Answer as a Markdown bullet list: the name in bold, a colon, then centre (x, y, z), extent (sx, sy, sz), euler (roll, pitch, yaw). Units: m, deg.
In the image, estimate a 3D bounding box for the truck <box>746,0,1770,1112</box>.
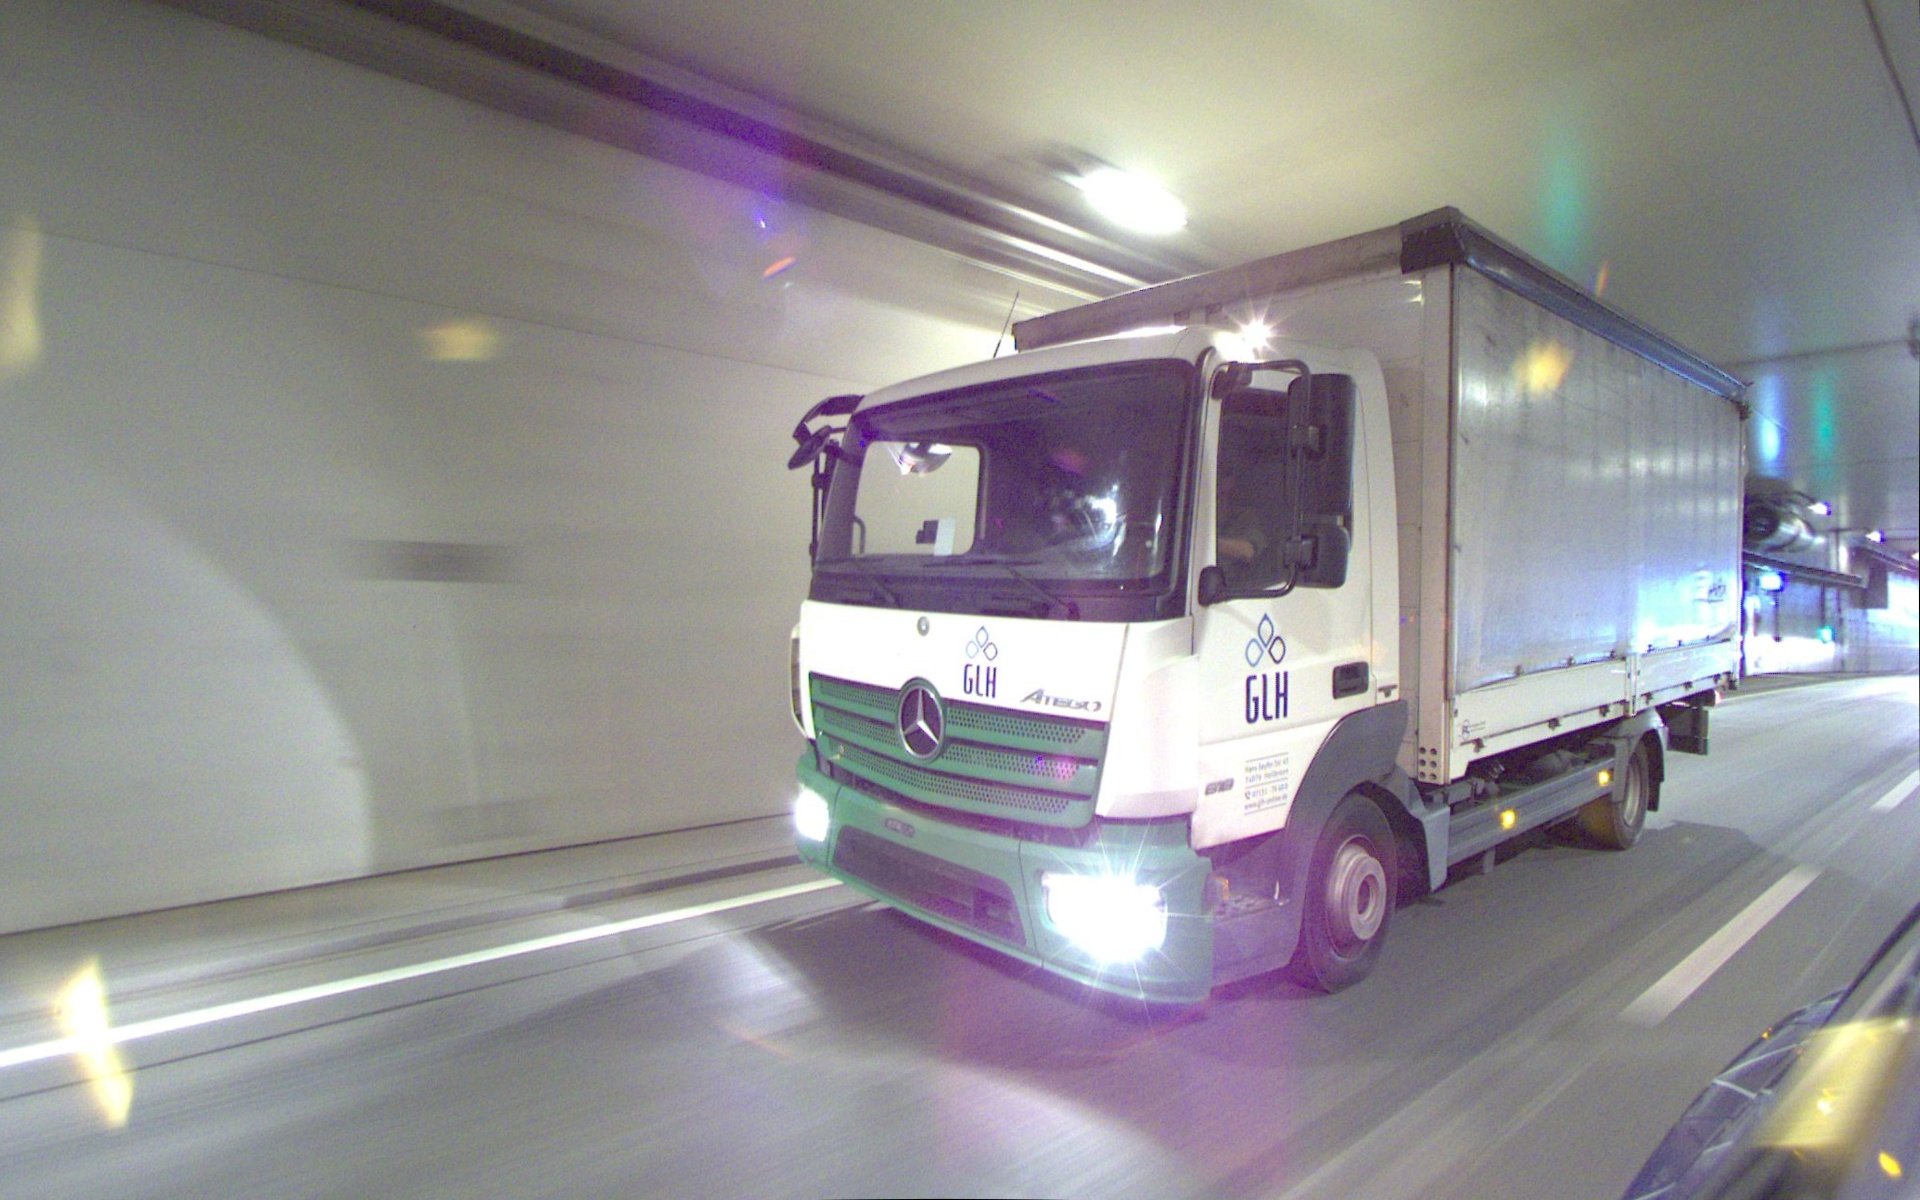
- **truck**: centre (2.522, -0.161, 6.142), extent (7.119, 3.221, 2.557), euler (1, 0, -41)
